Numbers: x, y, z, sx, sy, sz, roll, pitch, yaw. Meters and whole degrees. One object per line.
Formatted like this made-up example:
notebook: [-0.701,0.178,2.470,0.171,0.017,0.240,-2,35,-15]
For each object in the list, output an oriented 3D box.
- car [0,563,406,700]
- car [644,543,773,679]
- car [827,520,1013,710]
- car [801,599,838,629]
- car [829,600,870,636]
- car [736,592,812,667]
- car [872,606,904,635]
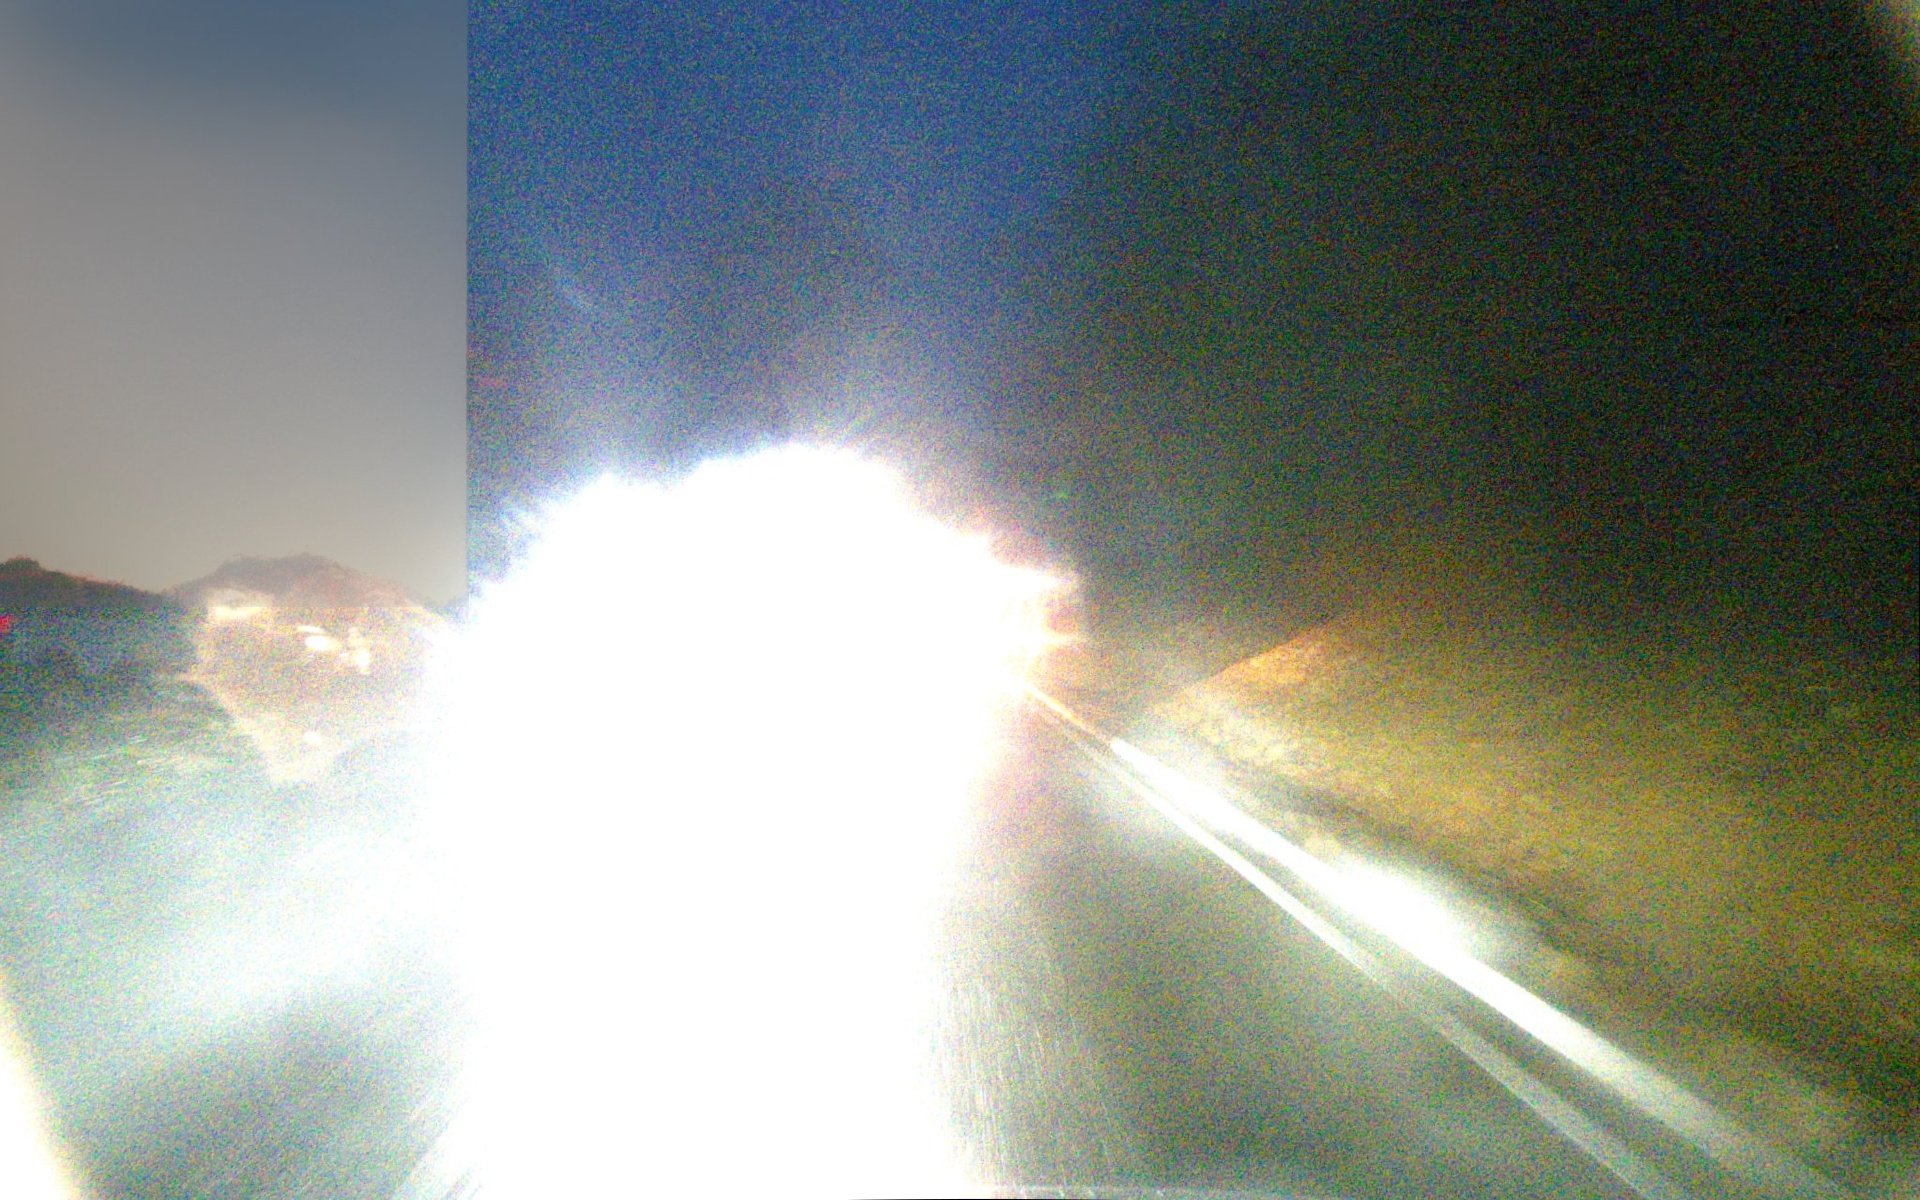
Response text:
car: [-10.545,0.411,23.310,4.815,1.765,1.998,-1,0,-5]
car: [-4.231,0.205,28.351,1.955,2.103,3.994,2,-1,-7]
car: [-0.653,0.187,25.337,2.488,2.541,5.712,-1,0,-2]
car: [-7.292,0.745,86.313,1.627,1.507,3.584,2,-1,-1]
car: [-4.953,0.809,74.482,1.627,1.507,3.584,2,-1,-1]
car: [-5.133,0.817,46.082,1.854,1.944,3.792,2,-1,-4]
car: [-4.047,1.165,93.604,1.627,1.507,3.584,2,-1,-1]
